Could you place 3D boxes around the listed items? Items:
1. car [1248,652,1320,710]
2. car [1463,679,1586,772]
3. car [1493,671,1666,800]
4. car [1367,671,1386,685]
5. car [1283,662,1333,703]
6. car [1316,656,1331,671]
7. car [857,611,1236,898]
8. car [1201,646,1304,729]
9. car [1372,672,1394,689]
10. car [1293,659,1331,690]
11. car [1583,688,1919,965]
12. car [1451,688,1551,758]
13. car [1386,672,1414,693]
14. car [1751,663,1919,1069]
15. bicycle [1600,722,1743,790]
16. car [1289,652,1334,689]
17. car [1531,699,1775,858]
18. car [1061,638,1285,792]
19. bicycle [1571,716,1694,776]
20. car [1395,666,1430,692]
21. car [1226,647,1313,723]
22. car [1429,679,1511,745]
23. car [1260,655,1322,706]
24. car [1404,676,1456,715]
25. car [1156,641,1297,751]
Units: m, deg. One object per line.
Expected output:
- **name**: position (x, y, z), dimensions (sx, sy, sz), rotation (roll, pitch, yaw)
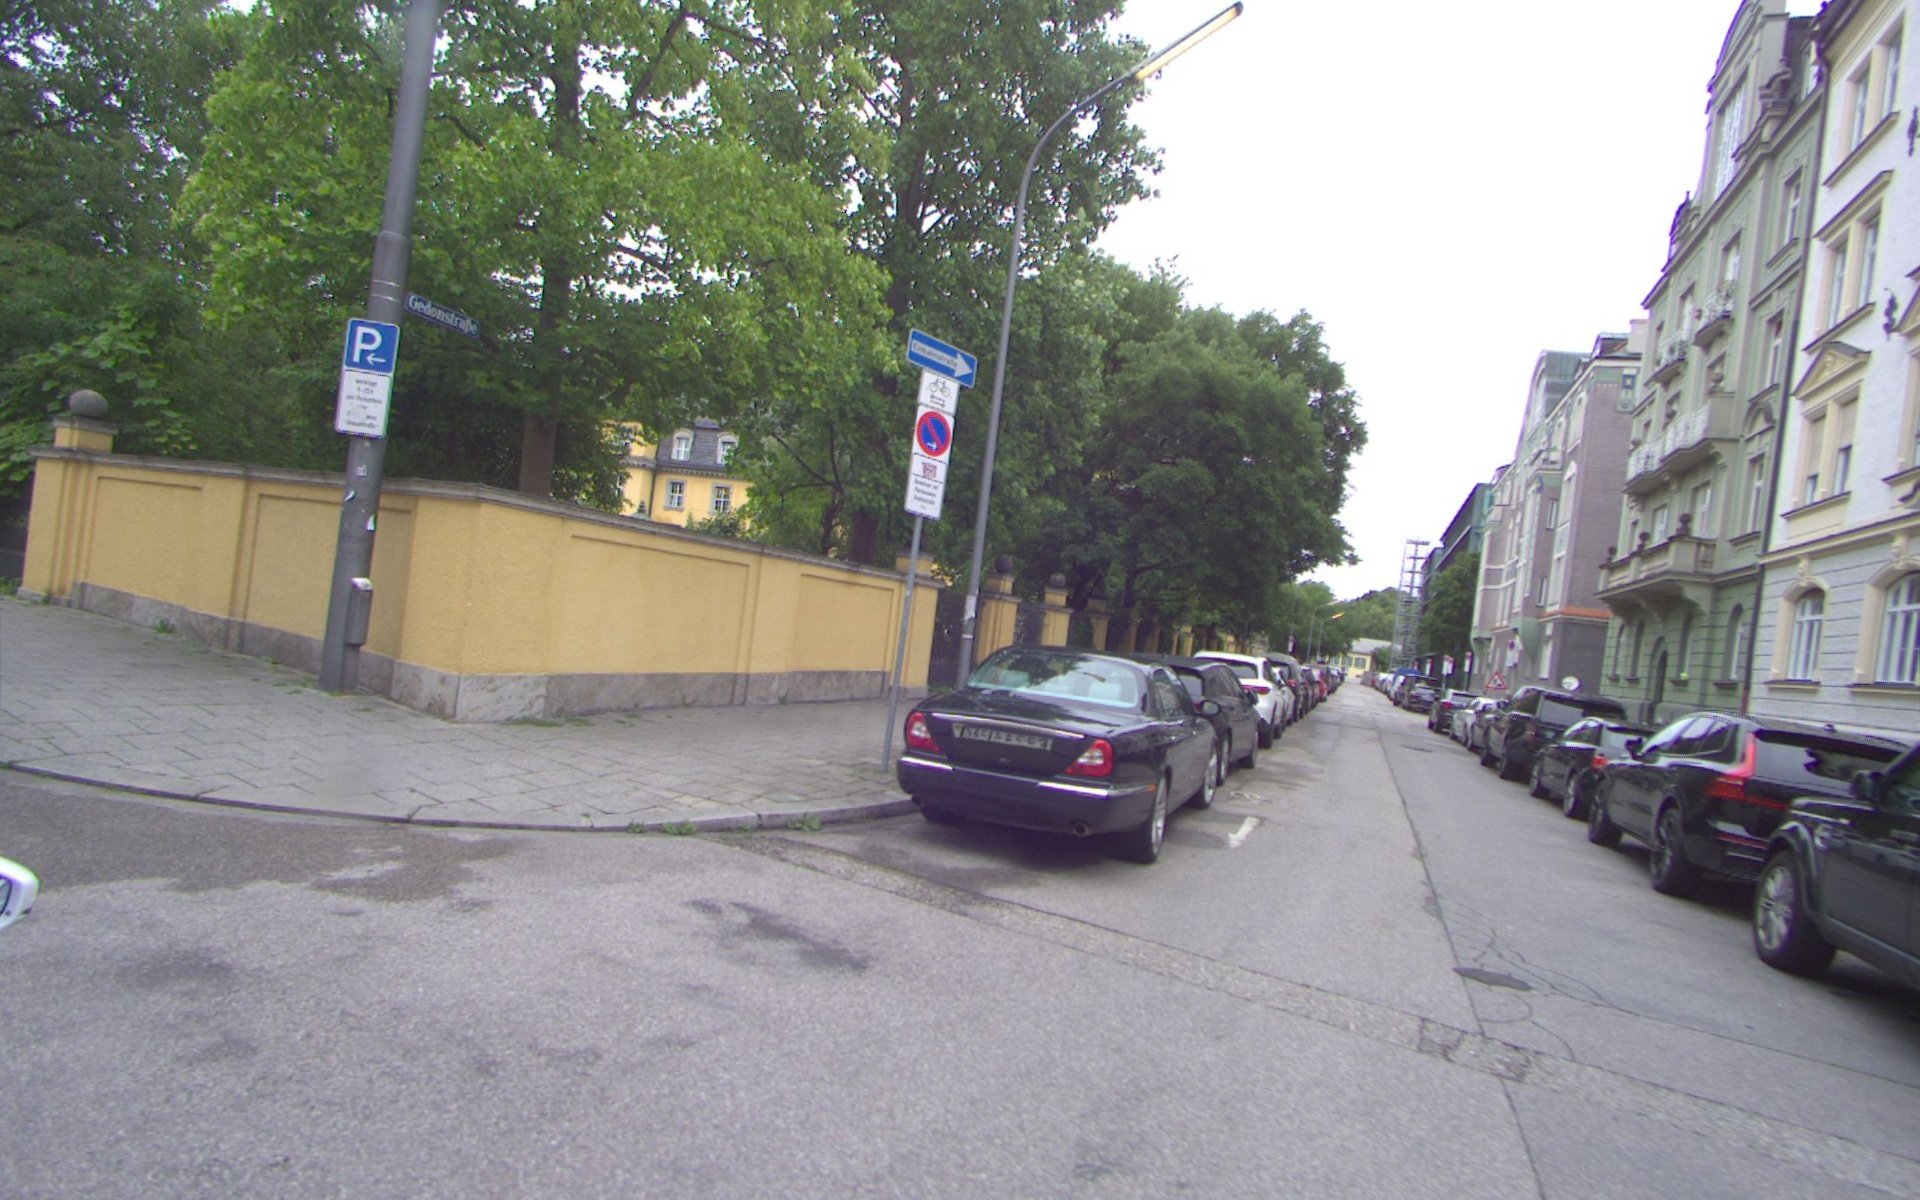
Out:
- **car**: position (11.272, 2.756, 34.787), dimensions (1.963, 1.640, 4.609), rotation (6, -1, 21)
- **car**: position (13.535, 2.927, 24.369), dimensions (1.928, 1.670, 4.249), rotation (9, 1, 23)
- **car**: position (11.399, 2.395, 18.838), dimensions (1.928, 1.775, 4.249), rotation (9, 1, 23)
- **car**: position (54.884, 10.262, 132.548), dimensions (1.963, 1.640, 4.609), rotation (7, -1, 21)
- **car**: position (16.646, 3.899, 47.975), dimensions (1.963, 1.640, 4.609), rotation (6, -1, 21)
- **car**: position (53.167, 9.300, 147.201), dimensions (1.876, 1.891, 4.609), rotation (6, -1, 21)
- **car**: position (1.107, 1.063, 8.555), dimensions (1.831, 1.500, 4.929), rotation (6, -1, 20)
- **car**: position (7.382, 2.125, 25.056), dimensions (1.963, 1.640, 4.609), rotation (6, -1, 21)
- **car**: position (48.157, 9.094, 114.526), dimensions (1.963, 1.640, 4.609), rotation (6, -1, 21)
- **car**: position (22.096, 4.629, 63.024), dimensions (1.963, 1.640, 4.609), rotation (6, -1, 21)
- **car**: position (7.464, 1.869, 9.436), dimensions (1.928, 1.670, 4.249), rotation (9, 1, 23)
- **car**: position (15.241, 3.408, 28.558), dimensions (1.928, 1.423, 4.249), rotation (9, 0, 23)
- **car**: position (40.758, 7.608, 93.197), dimensions (1.963, 1.640, 4.609), rotation (6, -1, 21)
- **car**: position (5.667, 1.419, 4.597), dimensions (1.869, 1.974, 4.542), rotation (9, 1, 23)
- **bicycle**: position (18.139, 3.951, 25.821), dimensions (2.463, 1.282, 2.473), rotation (4, -2, 24)
- **car**: position (18.599, 3.685, 53.055), dimensions (1.963, 1.640, 4.609), rotation (6, -1, 21)
- **car**: position (9.660, 2.377, 14.430), dimensions (1.928, 1.458, 4.111), rotation (9, 0, 23)
- **car**: position (3.076, 1.451, 13.647), dimensions (1.888, 1.500, 4.606), rotation (6, -1, 25)
- **bicycle**: position (19.201, 4.131, 28.870), dimensions (2.463, 1.282, 2.473), rotation (4, -2, 24)
- **car**: position (34.269, 5.961, 76.319), dimensions (1.963, 1.640, 4.609), rotation (6, -1, 21)
- **car**: position (9.165, 2.447, 29.550), dimensions (1.974, 1.799, 4.384), rotation (6, -1, 21)
- **car**: position (16.833, 3.639, 33.409), dimensions (1.928, 1.670, 4.249), rotation (9, 1, 23)
- **car**: position (13.048, 3.118, 39.519), dimensions (1.963, 1.640, 4.609), rotation (6, -1, 21)
- **car**: position (24.681, 4.992, 52.963), dimensions (1.963, 1.640, 4.609), rotation (6, -1, 21)
- **car**: position (5.312, 1.791, 19.579), dimensions (1.963, 1.640, 4.608), rotation (6, -1, 22)
